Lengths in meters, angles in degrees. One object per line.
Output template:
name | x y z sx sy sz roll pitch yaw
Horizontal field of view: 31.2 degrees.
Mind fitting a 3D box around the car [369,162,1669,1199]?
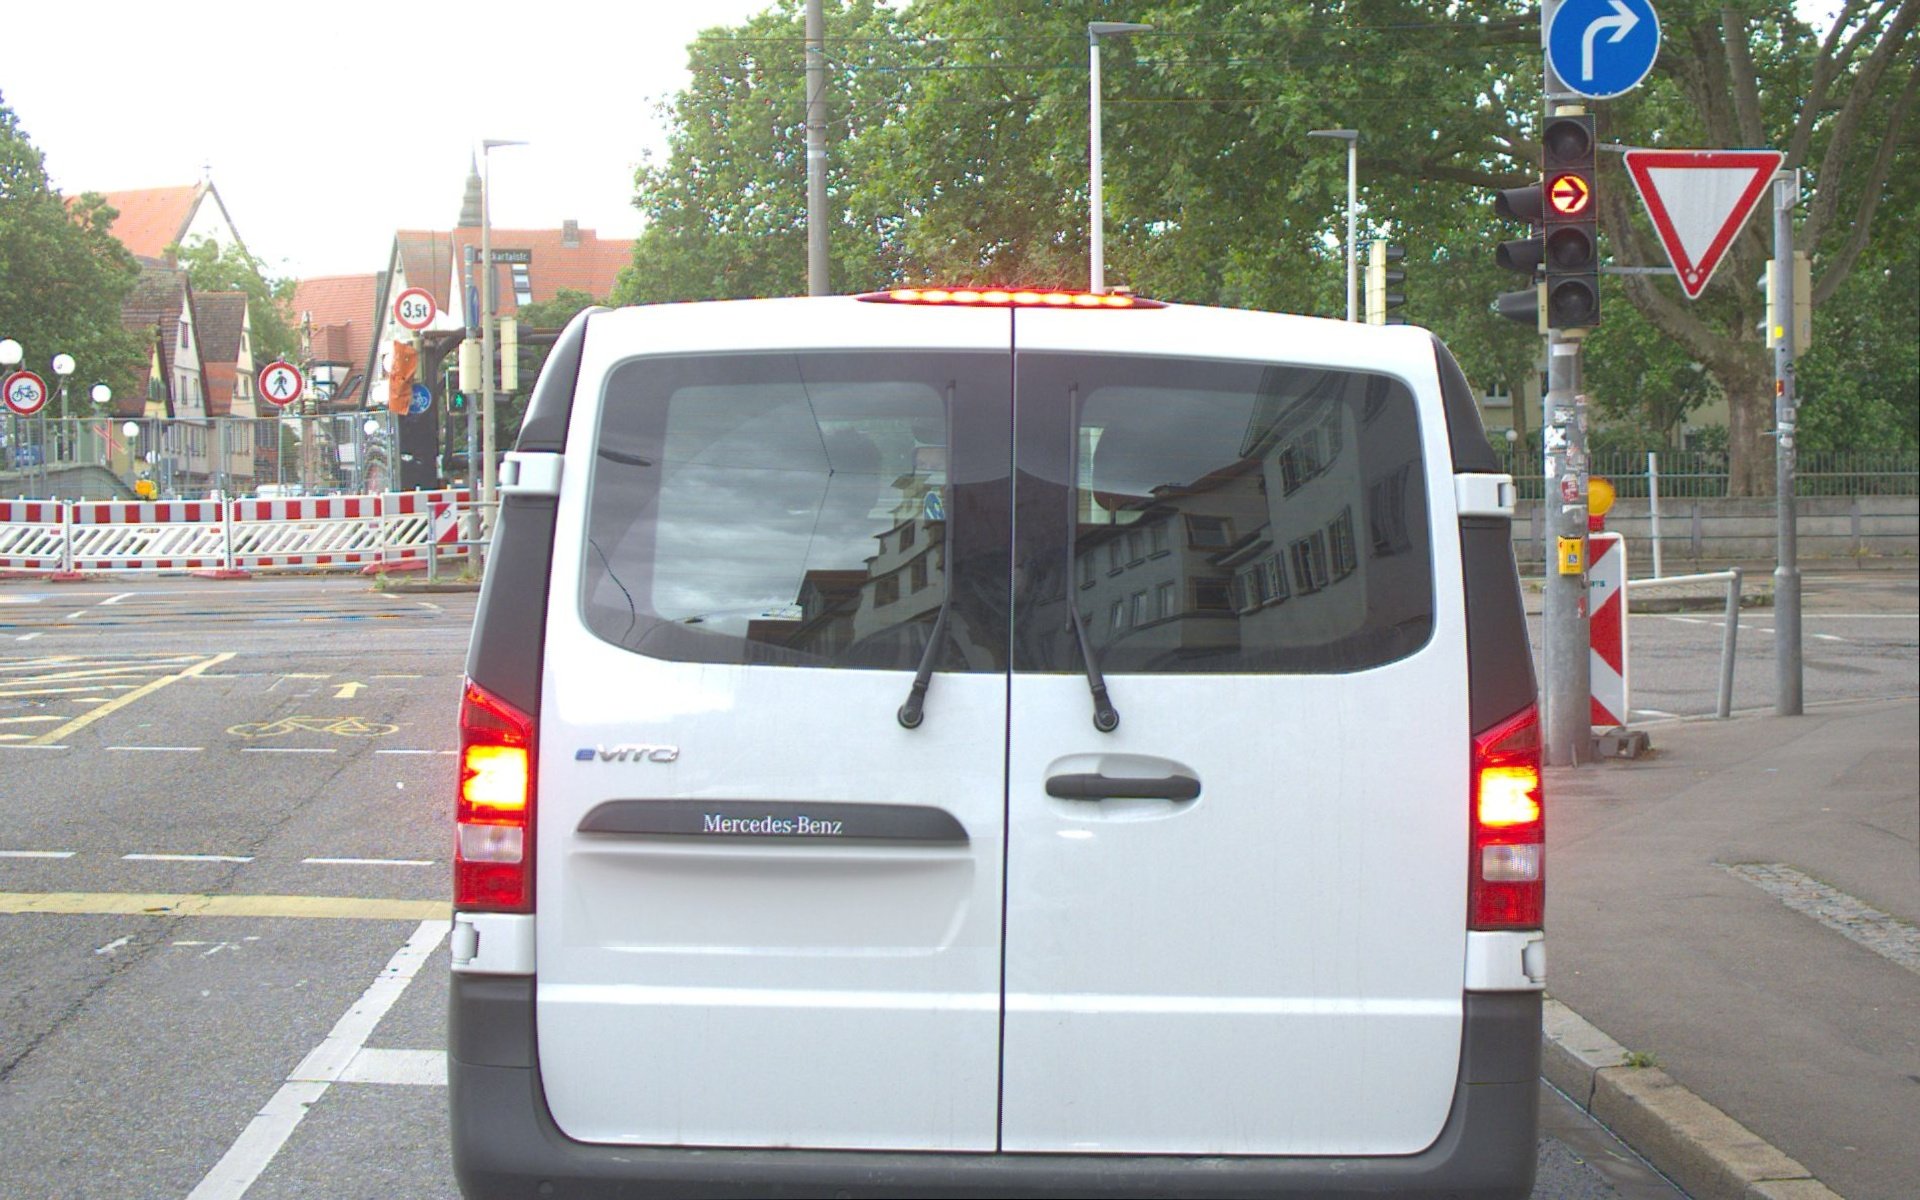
car | 0.057 0.257 7.571 1.951 2.006 4.699 1 2 -1
